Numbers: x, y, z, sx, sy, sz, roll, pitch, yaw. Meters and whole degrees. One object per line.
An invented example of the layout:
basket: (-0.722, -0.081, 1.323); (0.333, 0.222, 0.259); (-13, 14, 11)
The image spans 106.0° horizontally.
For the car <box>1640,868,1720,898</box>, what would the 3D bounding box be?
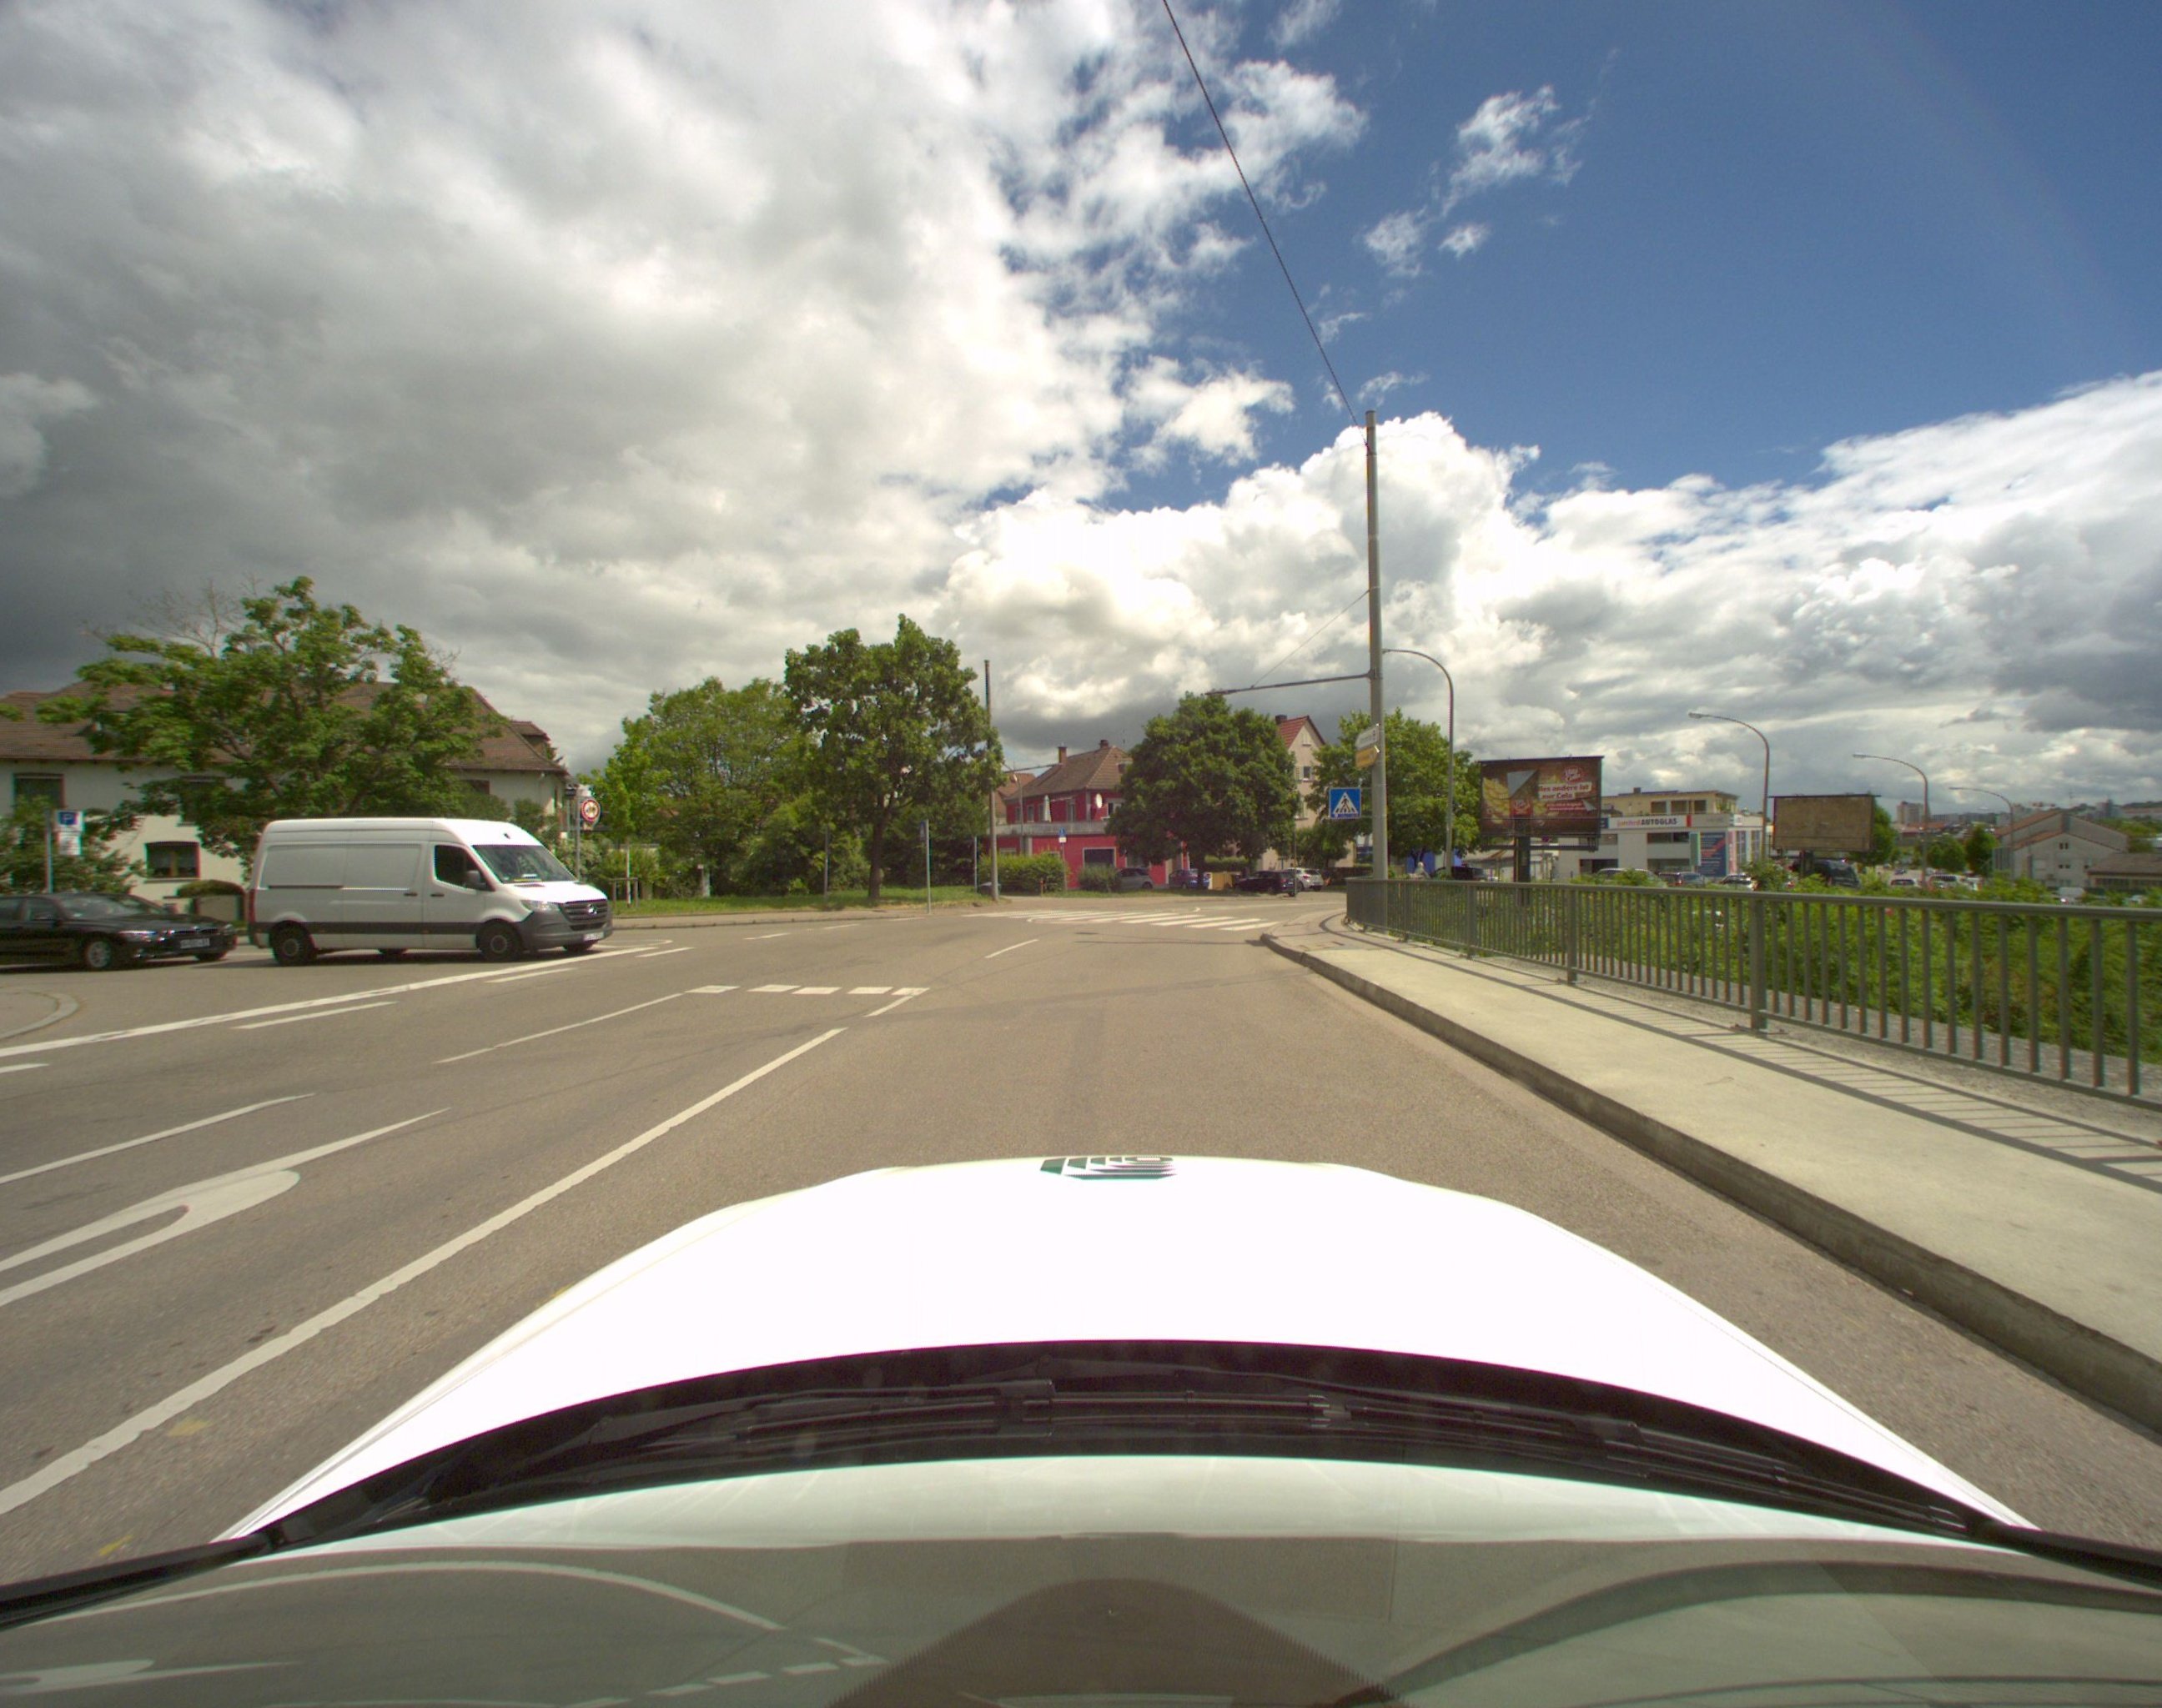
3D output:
car: (31.618, 1.524, 42.973); (4.586, 1.487, 1.695); (1, 0, -30)

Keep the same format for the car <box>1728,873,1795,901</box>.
car: (38.230, 1.816, 45.744); (3.970, 1.479, 1.694); (1, 0, -31)

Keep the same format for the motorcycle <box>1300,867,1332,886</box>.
motorcycle: (16.731, 1.615, 57.919); (2.243, 1.315, 0.911); (1, 0, -31)

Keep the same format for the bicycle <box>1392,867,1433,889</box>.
bicycle: (13.745, 1.020, 33.764); (2.113, 0.878, 0.681); (3, -4, -41)

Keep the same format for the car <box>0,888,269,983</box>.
car: (-18.321, 1.495, 15.298); (4.196, 1.474, 2.002); (-2, 0, 4)

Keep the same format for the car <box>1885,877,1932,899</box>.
car: (59.925, 2.471, 58.977); (2.916, 1.506, 1.780); (2, -3, -32)

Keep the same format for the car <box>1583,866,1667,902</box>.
car: (26.911, 1.451, 40.236); (4.320, 1.678, 1.695); (1, 0, -30)

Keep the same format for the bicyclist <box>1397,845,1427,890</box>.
bicyclist: (13.746, 0.578, 33.810); (1.086, 1.826, 0.678); (3, -4, -40)

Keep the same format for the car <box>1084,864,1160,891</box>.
car: (2.354, 1.340, 46.652); (4.090, 1.425, 1.630); (1, 0, -30)

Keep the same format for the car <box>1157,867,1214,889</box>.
car: (6.734, 1.517, 52.846); (1.848, 1.378, 3.778); (0, -1, -29)

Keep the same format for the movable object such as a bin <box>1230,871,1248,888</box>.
movable object such as a bin: (10.467, 1.705, 54.033); (0.882, 1.061, 0.752); (1, 0, -25)

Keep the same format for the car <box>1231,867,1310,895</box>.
car: (10.323, 1.446, 44.617); (2.005, 1.393, 4.106); (1, 0, -29)

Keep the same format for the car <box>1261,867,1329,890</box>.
car: (13.423, 1.499, 51.259); (1.883, 1.404, 3.892); (1, -1, -32)

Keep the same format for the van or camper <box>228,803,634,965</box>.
van or camper: (-11.780, 0.553, 15.027); (5.881, 2.567, 2.196); (-2, -1, 4)
